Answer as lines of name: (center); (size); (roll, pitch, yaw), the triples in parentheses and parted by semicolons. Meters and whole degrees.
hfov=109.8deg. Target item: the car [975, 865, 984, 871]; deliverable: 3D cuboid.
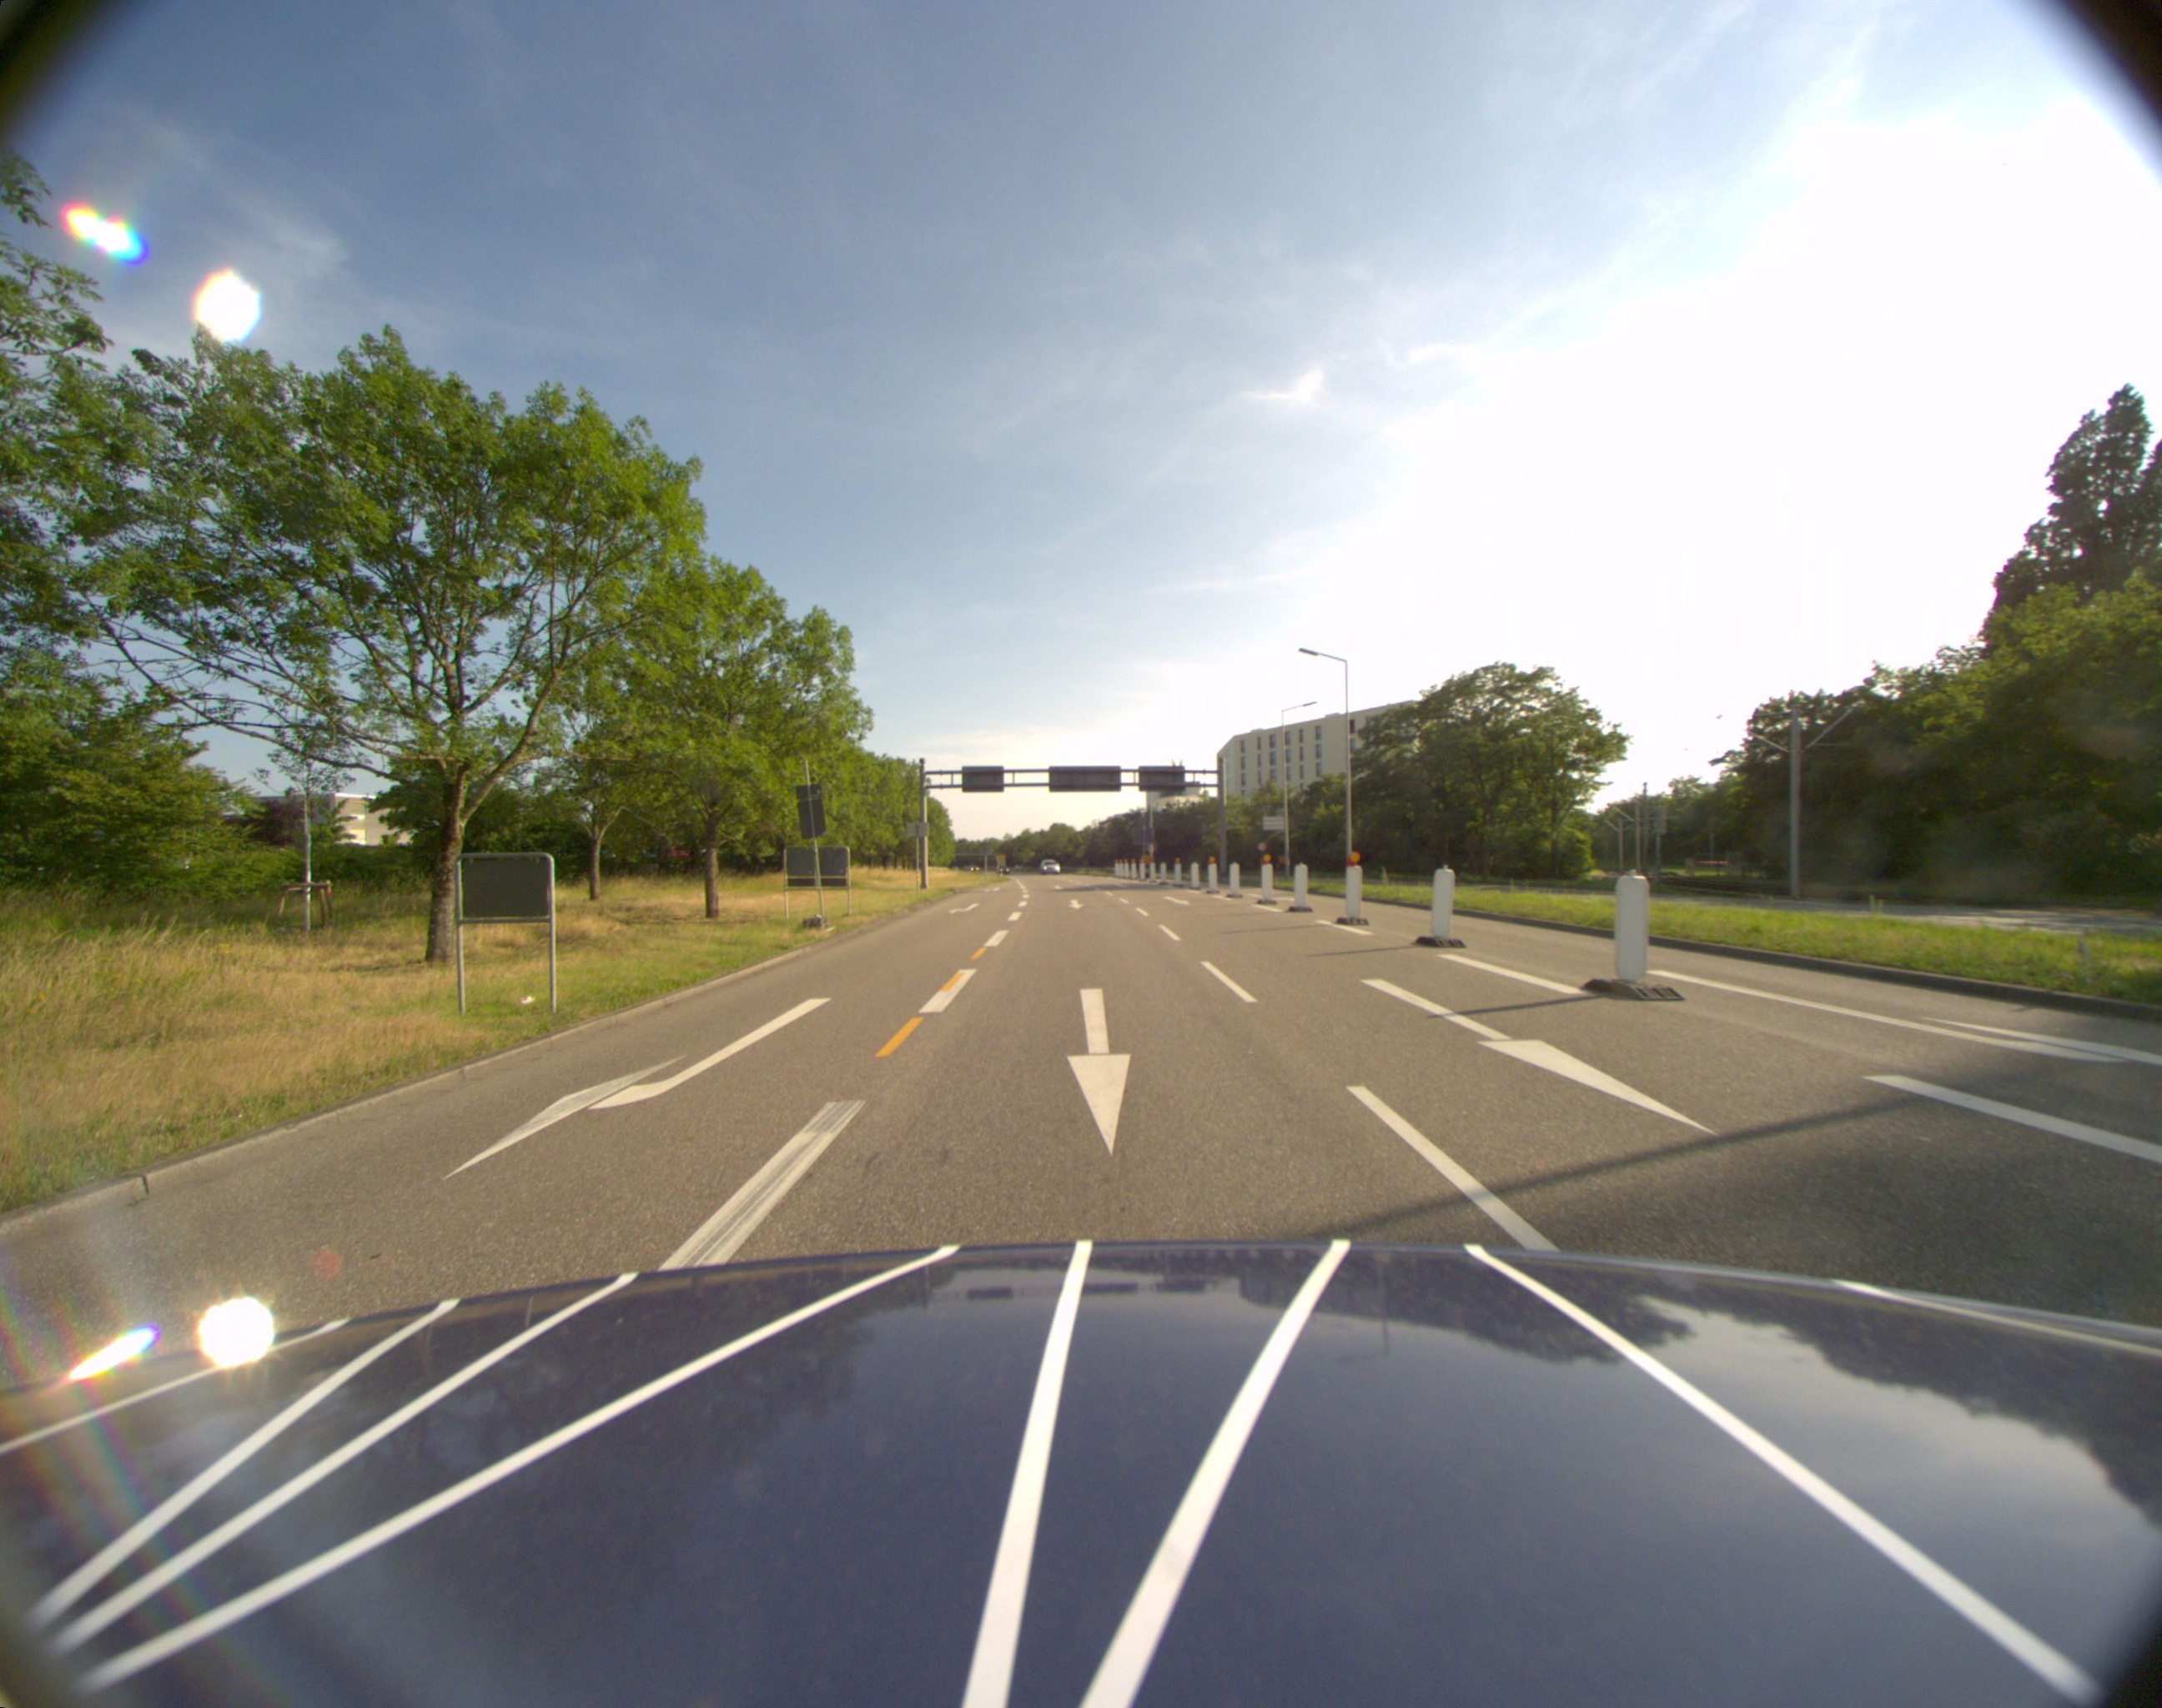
car: (-26.062, 3.606, 195.260); (1.897, 1.447, 3.904); (-1, 0, -15)

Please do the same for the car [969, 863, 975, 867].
car: (-37.091, 3.742, 258.627); (1.608, 1.433, 3.233); (-3, 0, -11)

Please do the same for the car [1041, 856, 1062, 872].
car: (-3.590, 1.174, 92.604); (1.903, 1.813, 4.352); (-3, 0, -10)

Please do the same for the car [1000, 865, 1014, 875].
car: (-11.940, 2.576, 122.017); (1.903, 1.377, 4.352); (-3, 0, -10)
